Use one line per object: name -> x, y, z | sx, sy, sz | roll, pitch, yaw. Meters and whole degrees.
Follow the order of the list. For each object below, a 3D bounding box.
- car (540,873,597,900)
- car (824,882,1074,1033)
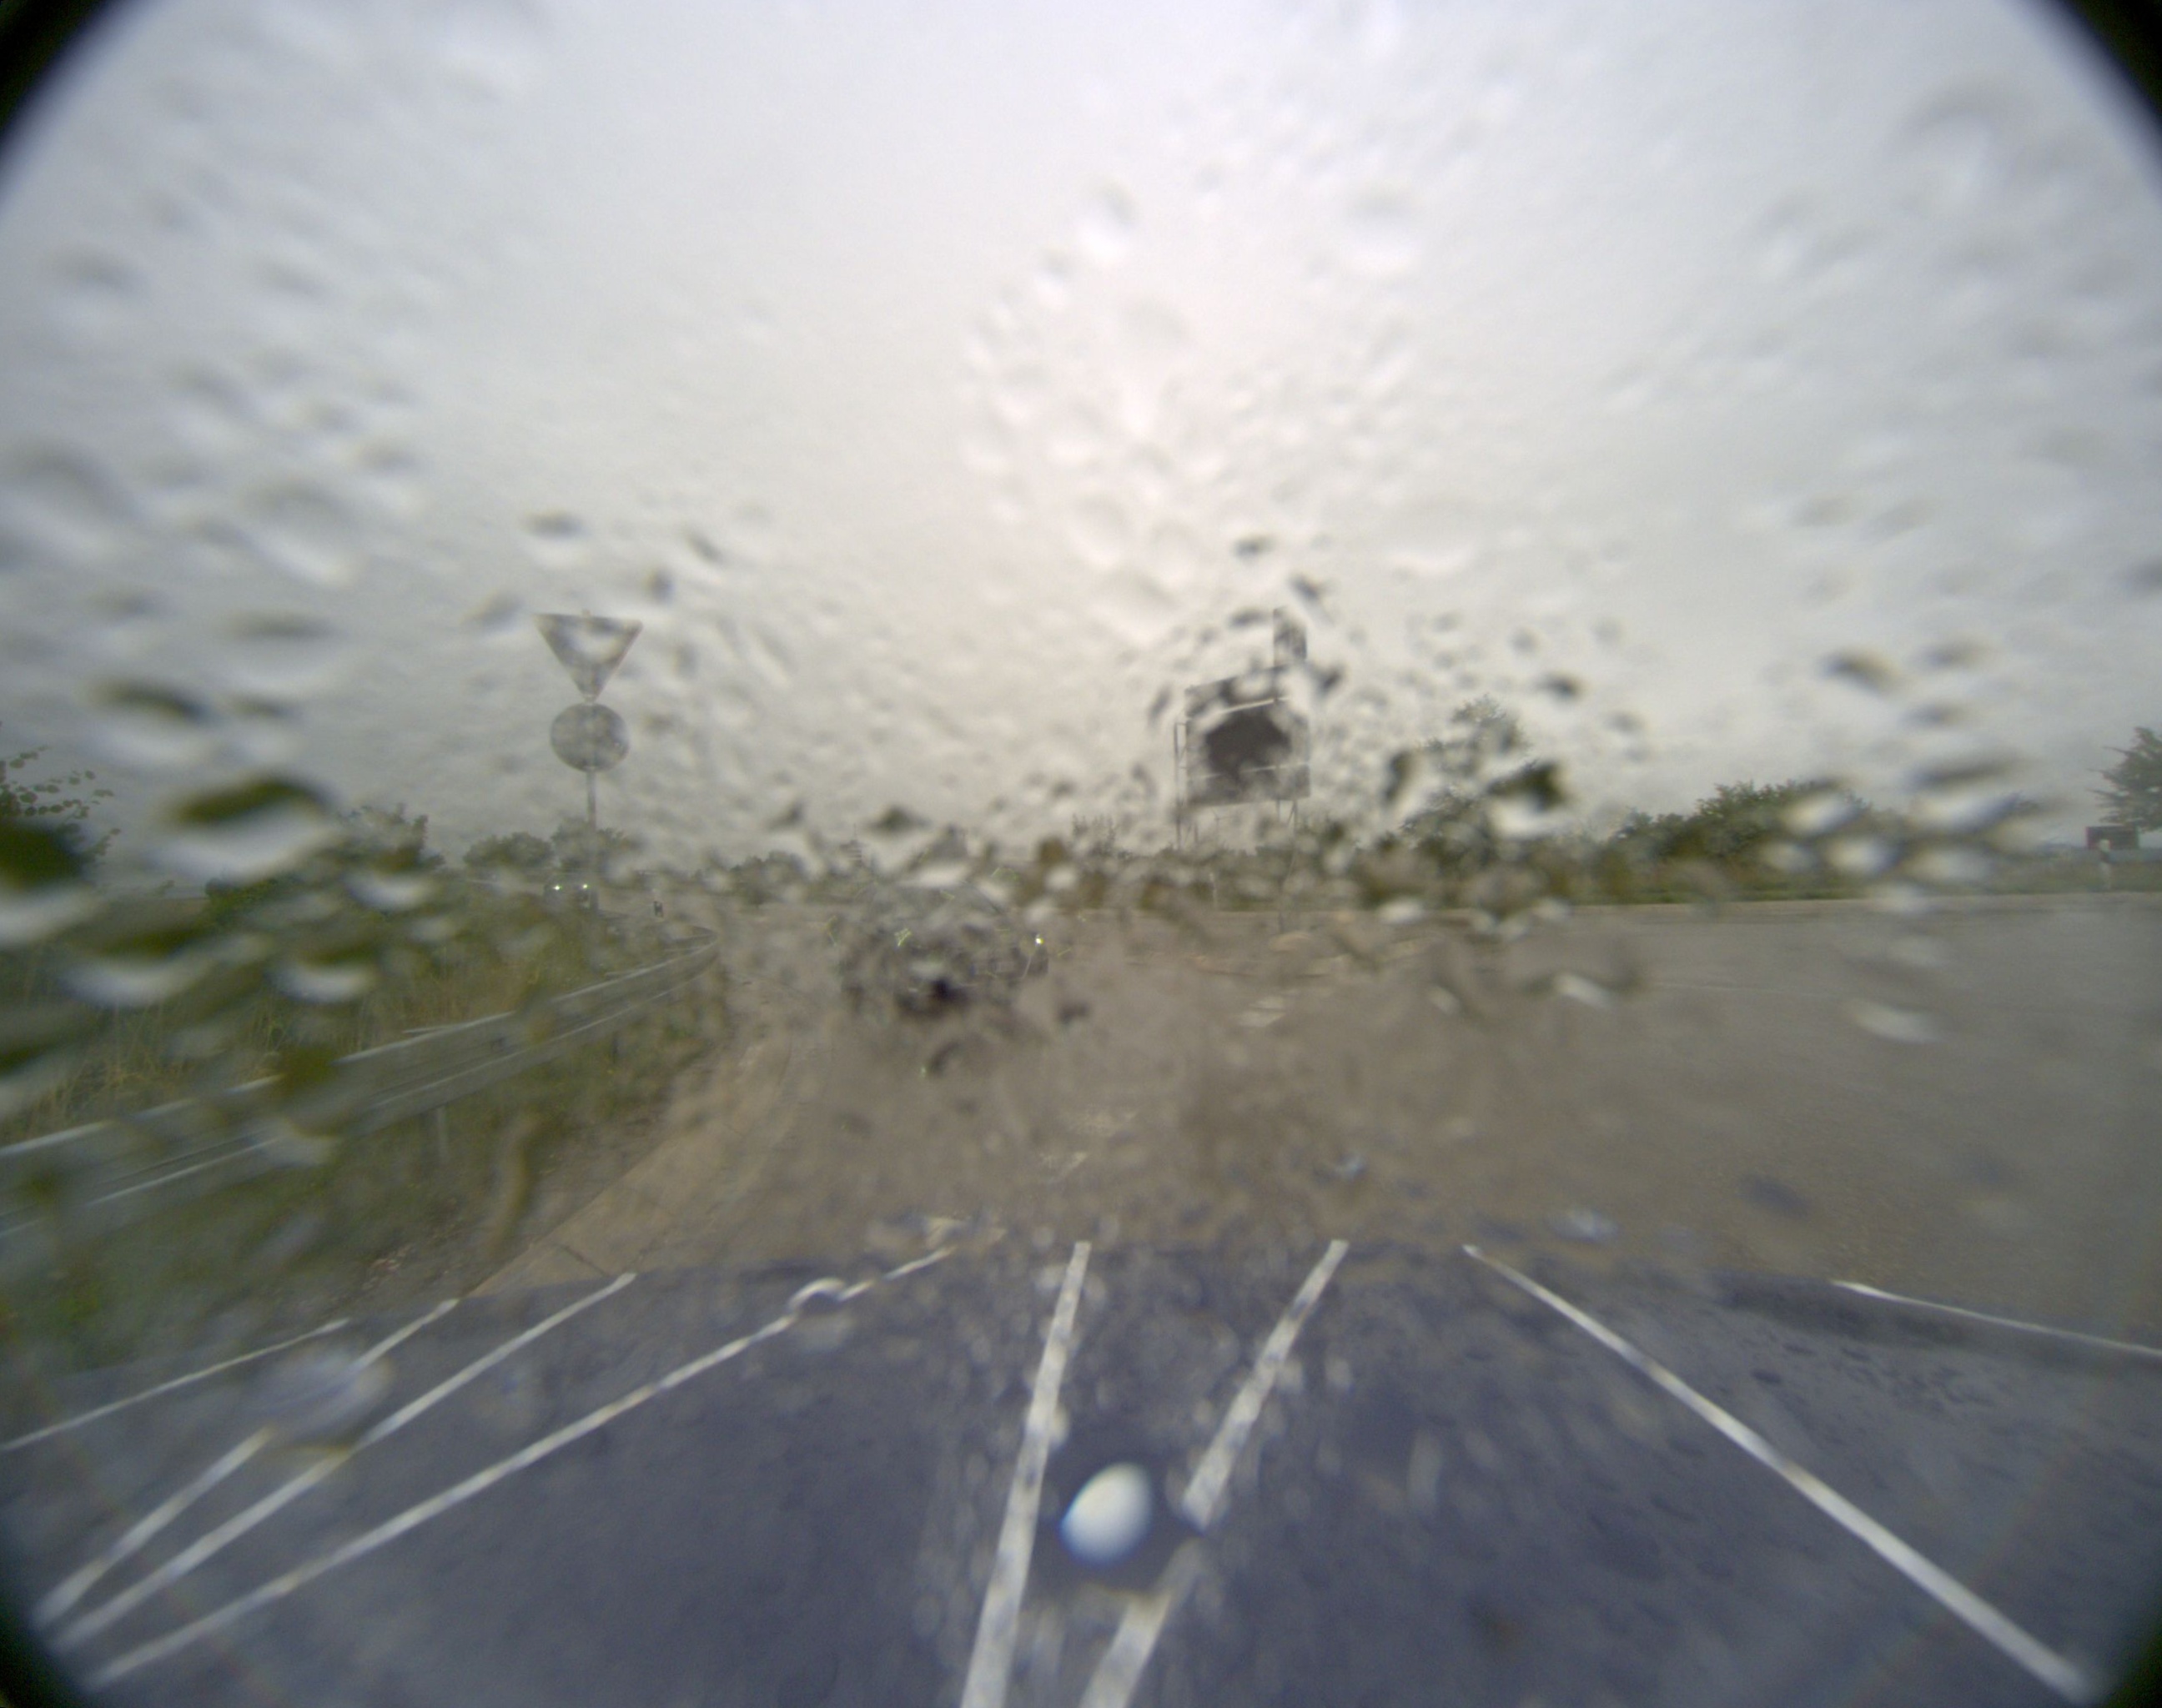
car -> -29.427, 1.815, 43.580 | 1.914, 1.361, 4.552 | -2, 1, -44
car -> -2.019, 1.136, 10.129 | 1.913, 1.361, 4.555 | -3, 0, -28
